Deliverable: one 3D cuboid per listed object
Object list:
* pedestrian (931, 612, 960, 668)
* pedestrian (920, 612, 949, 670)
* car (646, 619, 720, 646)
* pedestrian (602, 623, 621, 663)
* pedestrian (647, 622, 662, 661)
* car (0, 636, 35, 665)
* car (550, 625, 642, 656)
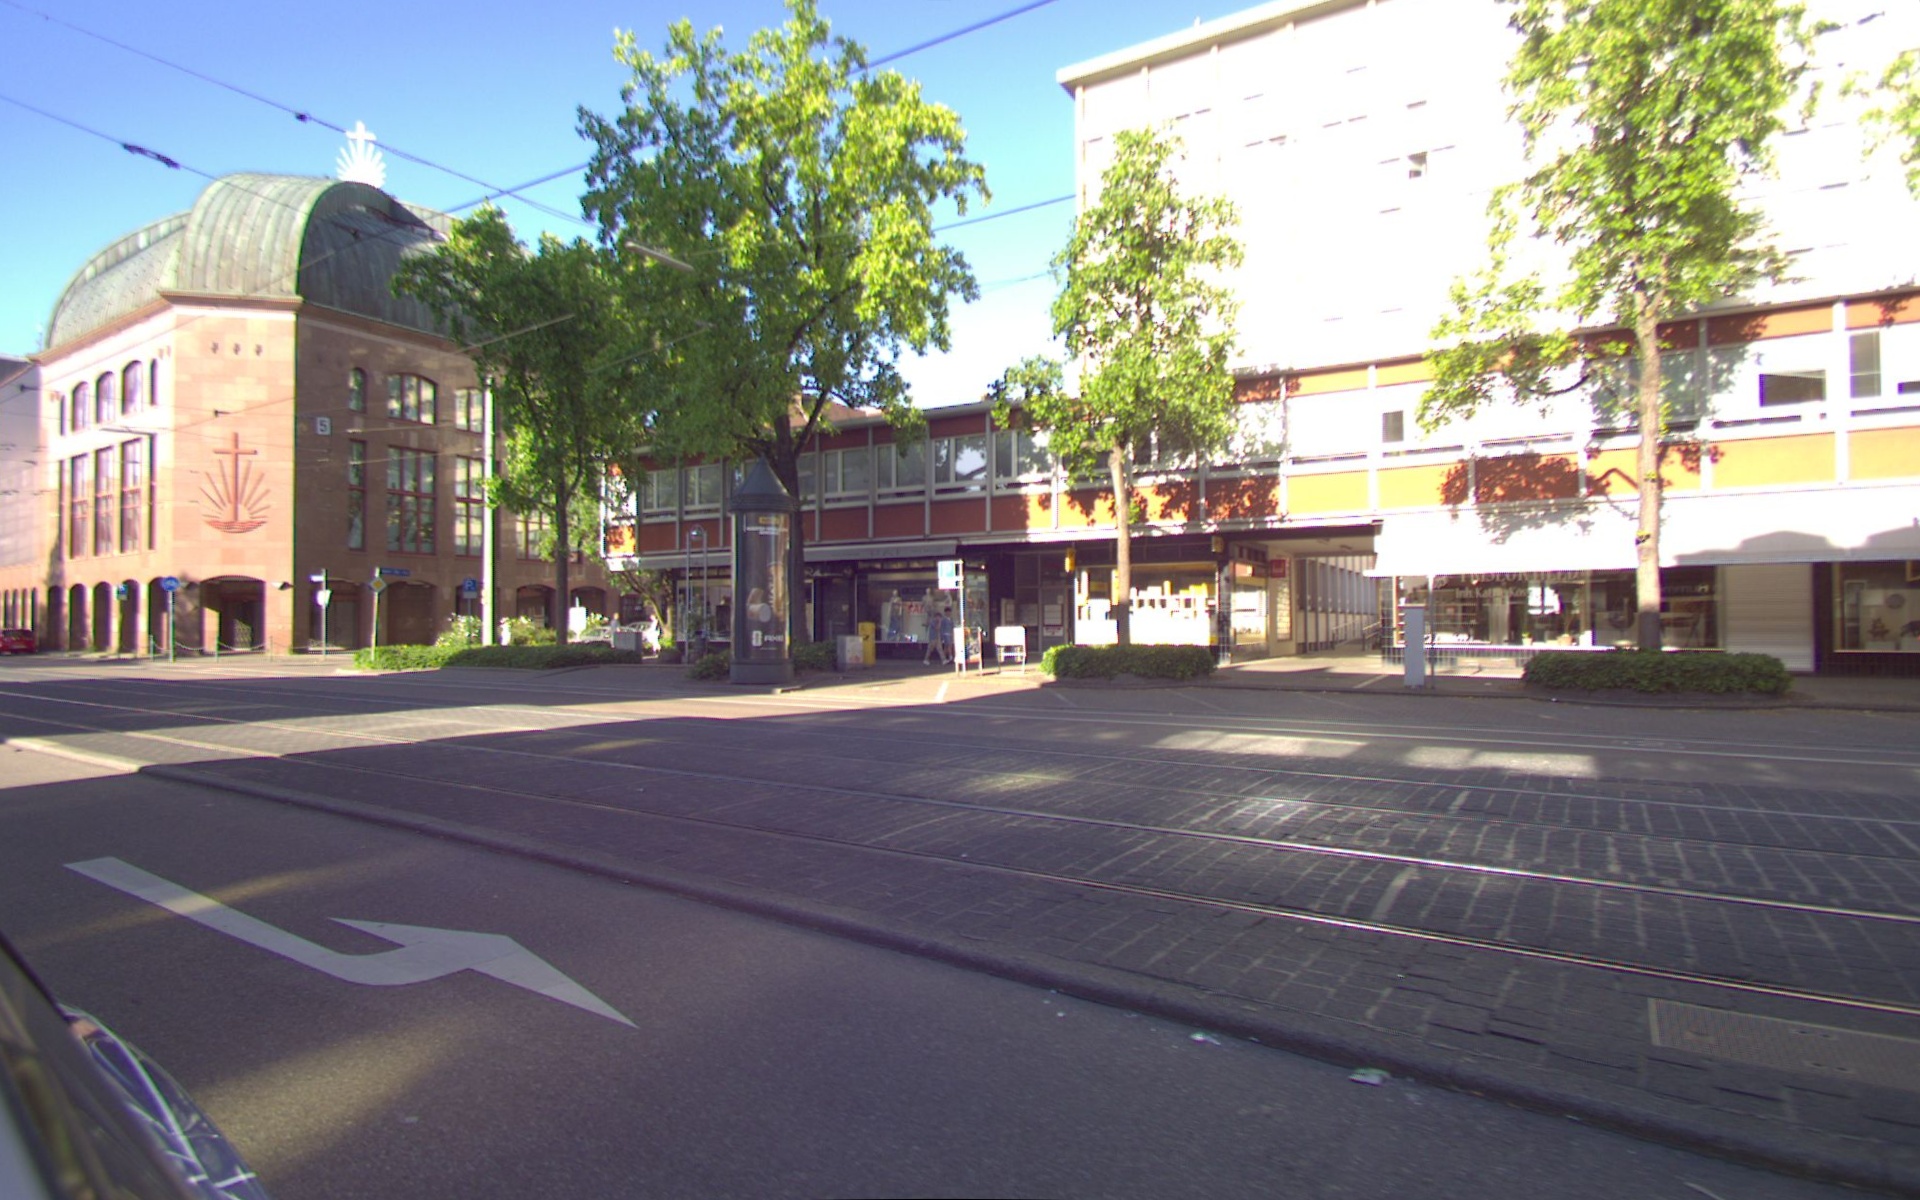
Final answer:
[{"bbox_3d":[-0.466,1.261,32.012,0.704,1.764,0.567,-1,-2,35],"label":"pedestrian"},{"bbox_3d":[-0.785,1.266,31.518,0.704,1.785,0.567,-1,-2,35],"label":"pedestrian"},{"bbox_3d":[-16.223,1.912,59.454,1.989,1.542,4.239,-1,-2,25],"label":"car"},{"bbox_3d":[-14.222,1.739,41.334,0.722,1.604,0.441,-2,-3,43],"label":"pedestrian"},{"bbox_3d":[-12.804,1.746,42.402,0.439,1.604,0.724,1,-2,-31],"label":"pedestrian"},{"bbox_3d":[-51.519,2.695,54.462,3.460,1.465,1.735,-1,-1,32],"label":"car"},{"bbox_3d":[-18.997,2.088,52.988,1.994,1.542,4.227,-1,-2,33],"label":"car"}]
